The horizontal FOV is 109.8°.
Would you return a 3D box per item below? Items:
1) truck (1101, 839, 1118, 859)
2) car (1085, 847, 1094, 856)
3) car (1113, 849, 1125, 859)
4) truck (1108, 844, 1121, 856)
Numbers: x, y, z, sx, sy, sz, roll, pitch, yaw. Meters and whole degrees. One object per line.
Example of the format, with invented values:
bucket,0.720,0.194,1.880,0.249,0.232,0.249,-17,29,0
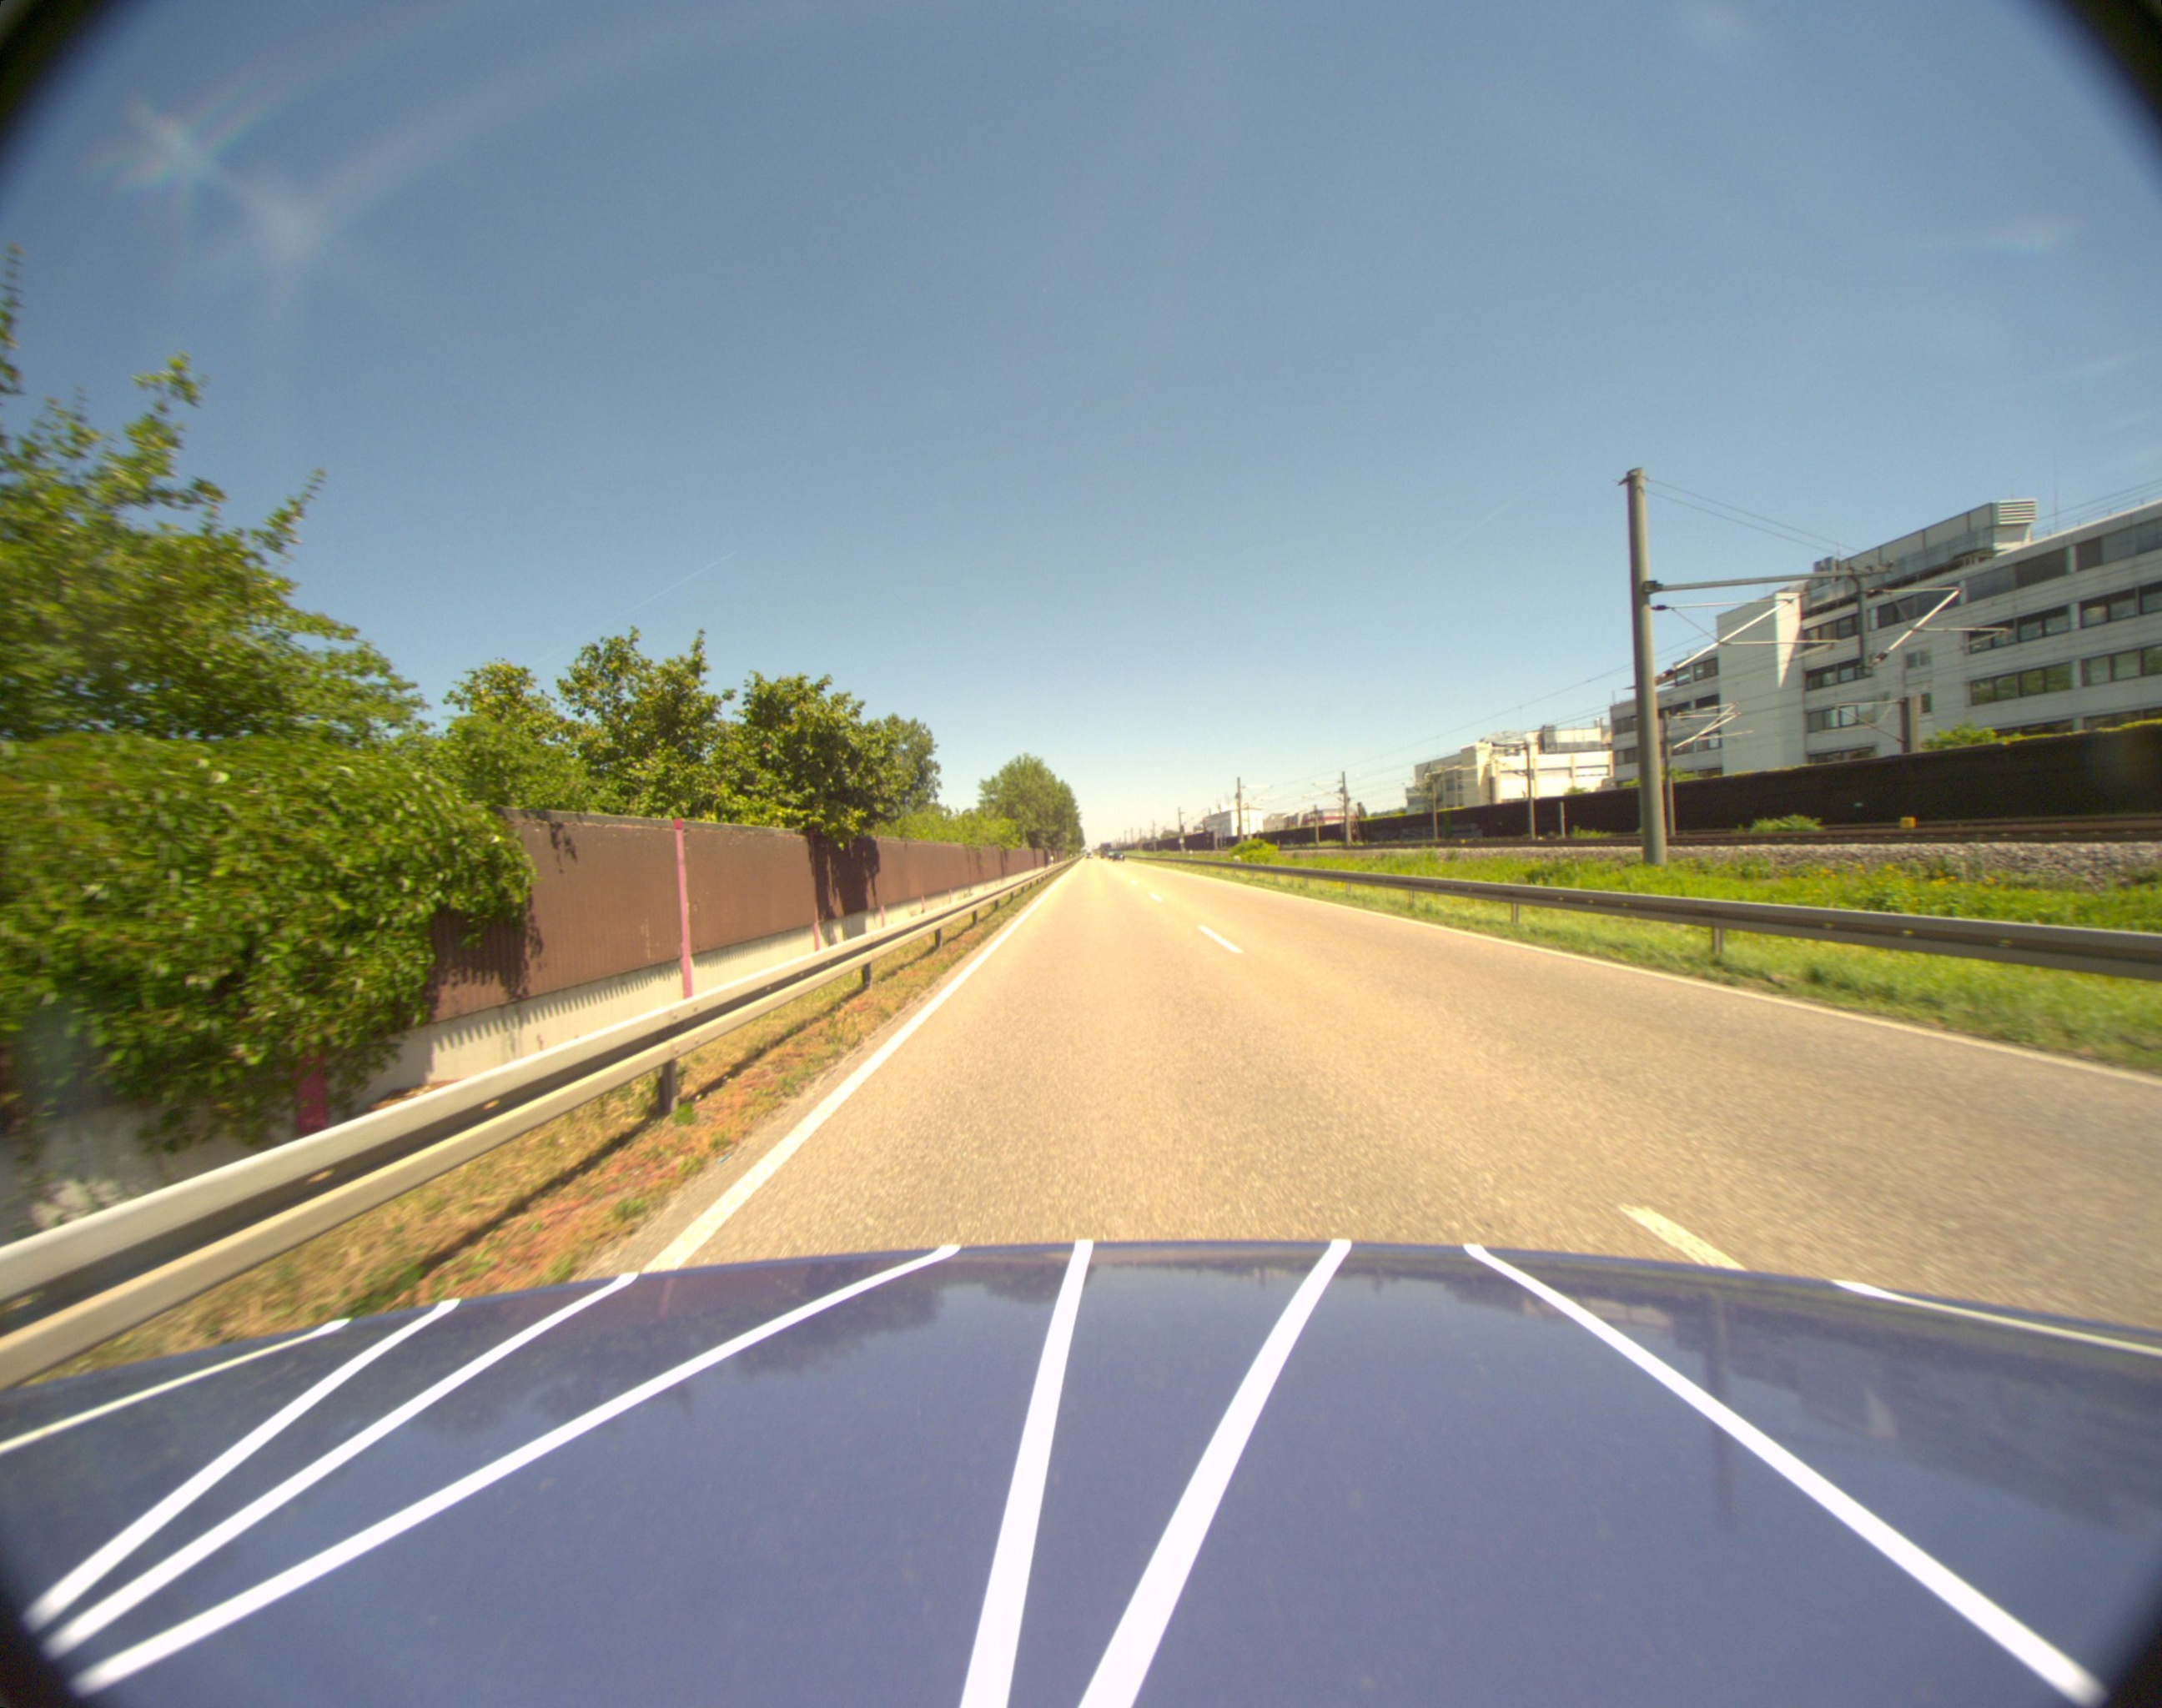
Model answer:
truck,6.700,-1.282,180.953,3.054,4.449,10.586,-2,1,-2
car,2.188,-0.665,190.008,1.998,2.002,4.000,-2,1,4
car,5.940,0.047,119.292,1.803,1.455,4.000,-2,1,1
truck,6.402,-0.794,146.573,2.389,2.256,6.237,-2,1,1
